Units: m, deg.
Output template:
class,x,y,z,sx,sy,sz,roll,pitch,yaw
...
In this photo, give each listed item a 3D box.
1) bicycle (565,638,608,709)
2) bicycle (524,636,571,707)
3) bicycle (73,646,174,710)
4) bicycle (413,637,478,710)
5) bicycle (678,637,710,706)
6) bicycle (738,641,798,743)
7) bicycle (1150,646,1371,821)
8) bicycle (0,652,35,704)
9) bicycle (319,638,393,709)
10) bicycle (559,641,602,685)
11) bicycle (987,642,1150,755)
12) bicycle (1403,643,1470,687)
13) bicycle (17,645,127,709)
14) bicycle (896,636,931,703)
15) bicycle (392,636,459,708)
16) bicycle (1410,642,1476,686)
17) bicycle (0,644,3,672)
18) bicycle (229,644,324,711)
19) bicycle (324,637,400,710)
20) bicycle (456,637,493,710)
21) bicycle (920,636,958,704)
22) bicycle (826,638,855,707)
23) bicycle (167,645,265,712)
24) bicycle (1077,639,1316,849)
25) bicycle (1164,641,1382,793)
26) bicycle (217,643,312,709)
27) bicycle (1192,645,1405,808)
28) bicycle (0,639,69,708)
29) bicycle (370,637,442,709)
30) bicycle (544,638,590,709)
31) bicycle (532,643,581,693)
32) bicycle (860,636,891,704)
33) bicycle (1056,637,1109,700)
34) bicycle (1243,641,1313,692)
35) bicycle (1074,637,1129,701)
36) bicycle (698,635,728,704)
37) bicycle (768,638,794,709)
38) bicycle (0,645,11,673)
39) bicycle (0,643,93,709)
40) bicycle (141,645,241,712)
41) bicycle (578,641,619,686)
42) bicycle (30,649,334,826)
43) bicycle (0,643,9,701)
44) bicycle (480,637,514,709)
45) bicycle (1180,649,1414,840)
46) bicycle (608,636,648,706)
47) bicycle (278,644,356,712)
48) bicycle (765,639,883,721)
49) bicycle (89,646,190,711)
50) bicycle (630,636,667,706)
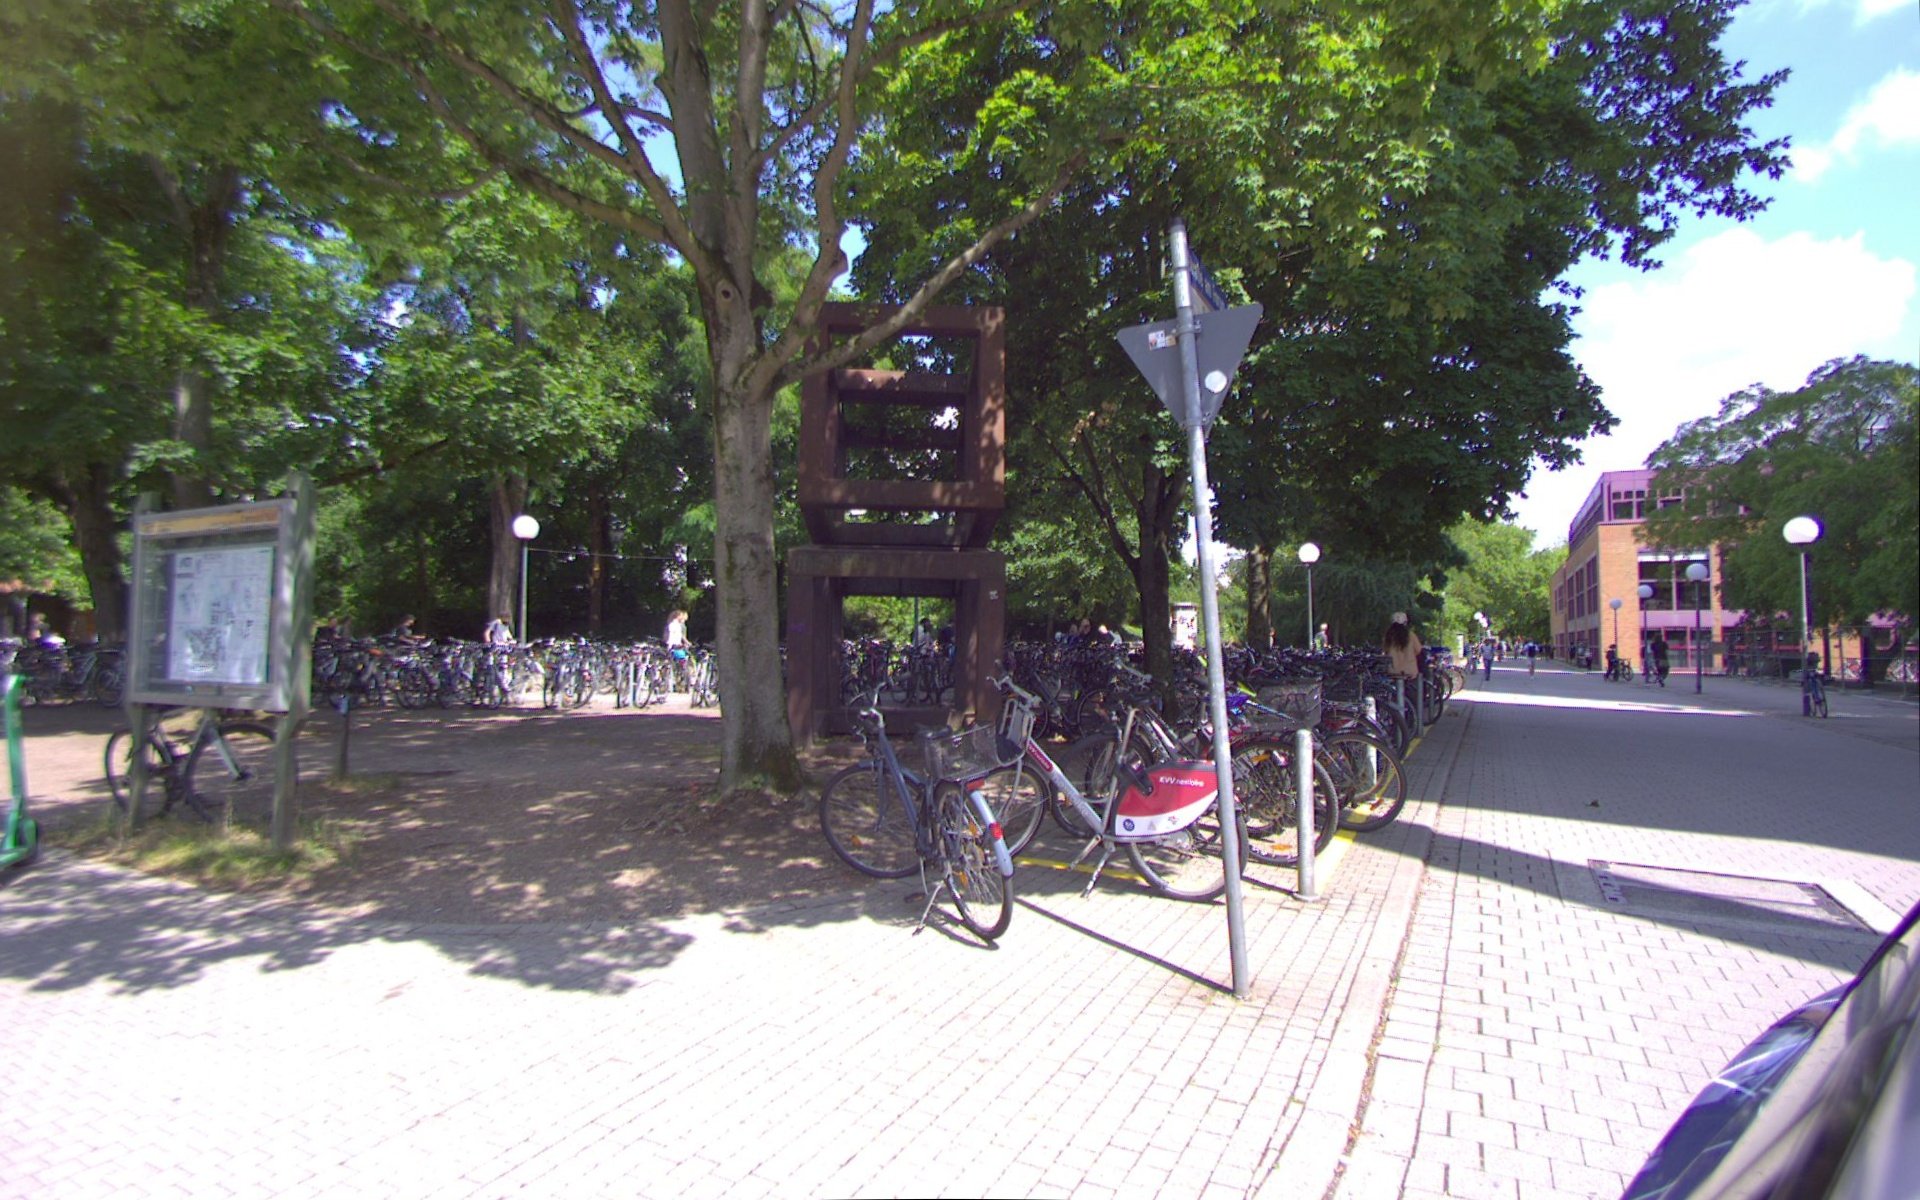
class,x,y,z,sx,sy,sz,roll,pitch,yaw
bicycle,-6.684,1.282,18.171,0.338,1.185,1.847,0,-2,-8
bicycle,-7.350,1.241,18.086,0.338,1.185,1.847,0,-2,-9
bicycle,-14.740,1.354,17.888,0.374,1.041,1.794,0,-2,-4
bicycle,-9.019,1.259,17.804,0.338,1.185,1.846,0,-2,-5
bicycle,-4.861,1.281,18.528,0.346,1.185,1.847,0,-2,-8
bicycle,-2.309,1.073,12.309,0.619,1.124,1.926,-1,-2,-8
bicycle,2.147,0.912,7.298,1.461,1.099,0.456,1,0,30
bicycle,-17.300,1.388,17.794,0.485,0.921,1.738,0,-2,-1
bicycle,-10.813,1.284,18.177,0.394,1.185,1.794,0,-2,-5
bicycle,-9.173,1.500,24.531,0.371,0.991,1.904,-1,-1,-2
bicycle,1.173,1.047,11.184,1.817,1.091,0.458,1,0,37
bicycle,13.304,1.826,28.314,1.670,1.166,0.546,0,-4,24
bicycle,-15.631,1.338,17.872,0.431,1.041,1.797,0,-2,-4
bicycle,-0.885,1.264,18.891,0.405,1.185,1.848,0,-2,-10
bicycle,-9.366,1.239,17.793,0.338,1.185,1.846,0,-2,-5
bicycle,13.715,1.813,28.780,1.670,1.166,0.546,0,-4,24
bicycle,-38.837,2.281,39.302,0.779,1.086,2.367,-3,-4,41
bicycle,-11.824,1.314,17.571,0.418,1.084,1.792,0,-2,0
bicycle,-10.355,1.235,17.574,0.394,1.185,1.794,0,-2,-5
bicycle,-8.505,1.253,17.756,0.338,1.185,1.848,1,-2,-19
bicycle,-0.406,1.283,18.979,0.405,1.185,1.848,0,-2,-10
bicycle,-2.215,1.304,18.658,0.405,1.185,1.848,0,-2,-10
bicycle,-13.012,1.342,17.758,0.418,1.084,1.793,0,-2,-2
bicycle,1.499,0.867,6.625,0.483,1.156,1.523,1,0,-42
bicycle,2.591,0.926,8.473,1.685,1.099,0.476,1,0,34
bicycle,-12.229,1.314,17.858,0.418,1.084,1.792,0,-2,0
bicycle,2.620,0.934,7.896,1.505,1.099,0.476,1,0,34
bicycle,-16.815,1.284,18.040,0.484,1.170,1.740,0,-2,-8
bicycle,-9.739,1.260,17.861,0.394,1.185,1.846,0,-2,-5
bicycle,-7.013,1.287,18.128,0.338,1.185,1.847,0,-2,-8
bicycle,-8.770,1.468,22.066,0.371,0.991,1.904,-1,-1,-2
bicycle,-1.596,1.278,18.978,0.405,1.185,1.848,0,-2,-10
bicycle,2.399,1.324,20.009,0.338,1.185,1.848,1,-2,-16
bicycle,7.069,1.475,22.535,1.451,1.098,0.351,-1,-3,17
bicycle,2.766,1.334,19.970,0.338,1.185,1.848,1,-2,-16
bicycle,-4.513,1.246,18.575,0.346,1.185,1.847,0,-2,-8
bicycle,-3.194,1.287,18.129,0.380,1.185,1.847,0,-2,-8
bicycle,-38.084,2.279,38.790,0.778,1.086,2.373,-3,-3,35
bicycle,-16.087,1.301,17.728,0.484,1.066,1.740,0,-2,-8
bicycle,-13.444,1.339,17.752,0.418,1.084,1.793,0,-2,-2
bicycle,-8.758,1.518,24.556,0.371,0.991,1.904,-1,-1,-2
bicycle,-5.287,0.927,6.931,1.659,1.098,0.627,-3,-5,6
bicycle,-18.084,1.317,18.032,0.320,1.073,1.910,0,-2,5
bicycle,-8.153,1.247,17.861,0.338,1.185,1.848,1,-2,-19
bicycle,2.226,0.908,6.716,1.426,1.099,0.456,1,0,27
bicycle,-5.983,1.253,18.290,0.346,1.185,1.847,0,-2,-8
bicycle,-11.221,1.335,17.716,0.418,1.084,1.795,0,-2,-7
bicycle,-1.961,1.140,14.607,1.636,1.124,0.476,-1,-3,-8
bicycle,-14.384,1.355,17.806,0.374,1.041,1.793,0,-2,-3
bicycle,-5.613,1.248,18.300,0.346,1.185,1.847,0,-2,-8
